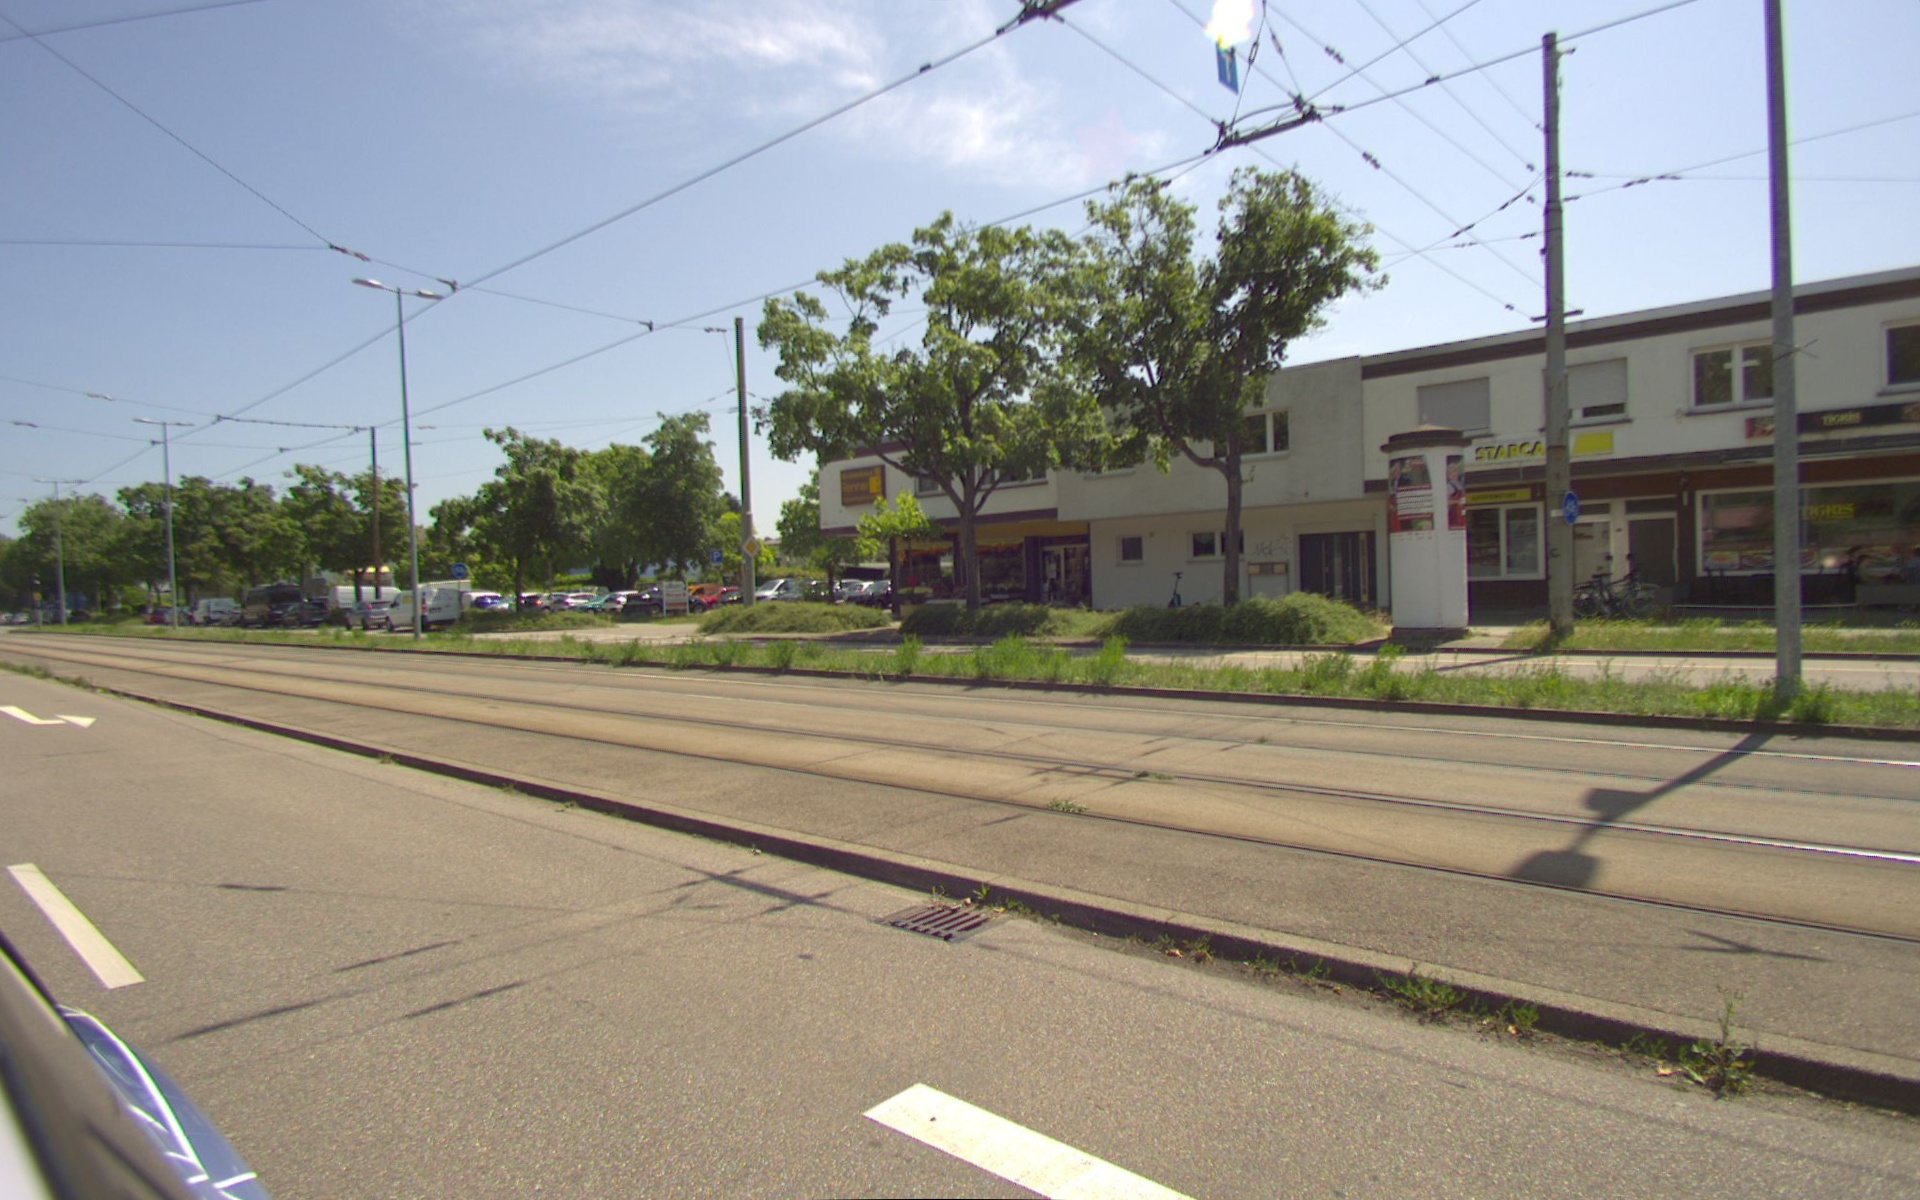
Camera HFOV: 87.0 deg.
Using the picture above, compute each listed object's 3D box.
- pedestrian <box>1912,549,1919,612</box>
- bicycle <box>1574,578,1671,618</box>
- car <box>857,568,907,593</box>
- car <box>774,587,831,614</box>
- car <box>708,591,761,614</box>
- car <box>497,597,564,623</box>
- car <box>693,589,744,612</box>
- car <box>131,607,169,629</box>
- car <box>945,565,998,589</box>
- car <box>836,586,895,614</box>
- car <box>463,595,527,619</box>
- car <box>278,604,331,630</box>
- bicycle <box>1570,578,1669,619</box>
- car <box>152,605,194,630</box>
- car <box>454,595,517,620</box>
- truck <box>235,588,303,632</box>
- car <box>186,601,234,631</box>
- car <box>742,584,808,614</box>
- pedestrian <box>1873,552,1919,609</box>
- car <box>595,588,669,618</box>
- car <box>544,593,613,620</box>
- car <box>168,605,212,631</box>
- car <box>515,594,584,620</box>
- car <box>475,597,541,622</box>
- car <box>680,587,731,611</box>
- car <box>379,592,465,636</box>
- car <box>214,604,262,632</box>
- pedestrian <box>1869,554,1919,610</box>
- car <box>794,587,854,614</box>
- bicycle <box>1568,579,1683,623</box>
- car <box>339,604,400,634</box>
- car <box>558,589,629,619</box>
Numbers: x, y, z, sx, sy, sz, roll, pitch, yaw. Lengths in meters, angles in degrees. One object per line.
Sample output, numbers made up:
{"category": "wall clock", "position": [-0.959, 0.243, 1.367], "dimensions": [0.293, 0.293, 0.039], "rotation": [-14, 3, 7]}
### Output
{"category": "pedestrian", "position": [19.224, -0.400, 20.043], "dimensions": [0.491, 1.248, 0.569], "rotation": [-1, 1, 40]}
{"category": "bicycle", "position": [15.064, -0.039, 23.027], "dimensions": [1.786, 0.854, 0.523], "rotation": [-1, 3, 41]}
{"category": "car", "position": [-6.730, -1.694, 87.687], "dimensions": [2.000, 2.029, 3.944], "rotation": [-1, 1, 42]}
{"category": "car", "position": [-9.946, 0.028, 64.155], "dimensions": [1.532, 1.549, 3.450], "rotation": [-1, 1, 38]}
{"category": "car", "position": [-15.425, 0.162, 69.426], "dimensions": [1.504, 1.400, 3.315], "rotation": [-1, 1, 38]}
{"category": "car", "position": [-25.989, 0.591, 61.350], "dimensions": [1.600, 1.404, 3.375], "rotation": [-1, 1, 35]}
{"category": "car", "position": [-17.047, 0.037, 71.508], "dimensions": [1.504, 1.469, 3.315], "rotation": [-1, 1, 38]}
{"category": "car", "position": [-65.709, 1.469, 82.050], "dimensions": [3.820, 1.716, 1.660], "rotation": [-1, 1, 40]}
{"category": "car", "position": [0.935, -1.810, 79.288], "dimensions": [2.000, 1.785, 3.944], "rotation": [-1, 1, 42]}
{"category": "car", "position": [-5.693, -0.031, 61.070], "dimensions": [1.622, 1.549, 3.450], "rotation": [-1, 1, 38]}
{"category": "car", "position": [-29.845, 0.456, 65.003], "dimensions": [1.600, 1.404, 3.375], "rotation": [-1, 1, 35]}
{"category": "car", "position": [-37.396, 0.967, 57.746], "dimensions": [3.669, 1.397, 1.653], "rotation": [-1, 1, 43]}
{"category": "bicycle", "position": [14.705, -0.031, 22.604], "dimensions": [1.786, 0.854, 0.523], "rotation": [-1, 3, 41]}
{"category": "car", "position": [-60.407, 1.369, 77.644], "dimensions": [4.199, 1.807, 1.660], "rotation": [-2, 0, 40]}
{"category": "car", "position": [-31.441, 0.475, 67.133], "dimensions": [1.600, 1.517, 3.375], "rotation": [-1, 1, 35]}
{"category": "truck", "position": [-42.130, 0.602, 61.682], "dimensions": [4.926, 2.560, 2.197], "rotation": [-1, 1, 41]}
{"category": "car", "position": [-52.630, 1.104, 71.002], "dimensions": [4.506, 1.989, 1.660], "rotation": [-1, 1, 40]}
{"category": "car", "position": [-11.936, -0.085, 65.358], "dimensions": [1.811, 1.798, 3.950], "rotation": [-1, 1, 38]}
{"category": "pedestrian", "position": [19.829, -0.408, 21.443], "dimensions": [0.674, 1.172, 0.512], "rotation": [-1, 1, 41]}
{"category": "car", "position": [-17.741, 0.158, 54.807], "dimensions": [1.790, 1.502, 3.375], "rotation": [-1, 1, 35]}
{"category": "car", "position": [-21.837, 0.359, 57.967], "dimensions": [1.600, 1.404, 3.375], "rotation": [-1, 1, 35]}
{"category": "car", "position": [-56.872, 1.326, 74.695], "dimensions": [4.199, 1.807, 1.660], "rotation": [-1, 1, 40]}
{"category": "car", "position": [-23.912, 0.384, 59.008], "dimensions": [1.600, 1.404, 3.375], "rotation": [-1, 1, 35]}
{"category": "car", "position": [-27.978, 0.579, 62.722], "dimensions": [1.600, 1.404, 3.375], "rotation": [-1, 1, 35]}
{"category": "car", "position": [-18.461, -0.079, 73.531], "dimensions": [1.504, 1.573, 3.315], "rotation": [-1, 1, 38]}
{"category": "car", "position": [-25.066, 0.635, 47.114], "dimensions": [4.659, 1.897, 1.973], "rotation": [-1, 1, 41]}
{"category": "car", "position": [-48.232, 1.204, 67.544], "dimensions": [3.866, 1.807, 1.660], "rotation": [-1, 1, 40]}
{"category": "pedestrian", "position": [19.316, -0.374, 20.869], "dimensions": [0.810, 1.136, 0.558], "rotation": [-1, 1, 41]}
{"category": "car", "position": [-8.311, 0.029, 62.008], "dimensions": [1.622, 1.549, 3.450], "rotation": [-1, 1, 38]}
{"category": "bicycle", "position": [14.107, 0.032, 21.489], "dimensions": [1.958, 0.854, 0.596], "rotation": [-1, 3, 41]}
{"category": "car", "position": [-29.903, 0.964, 51.220], "dimensions": [3.568, 1.397, 1.653], "rotation": [-1, 1, 43]}
{"category": "car", "position": [-20.238, 0.214, 56.013], "dimensions": [1.595, 1.502, 3.375], "rotation": [-1, 1, 35]}
